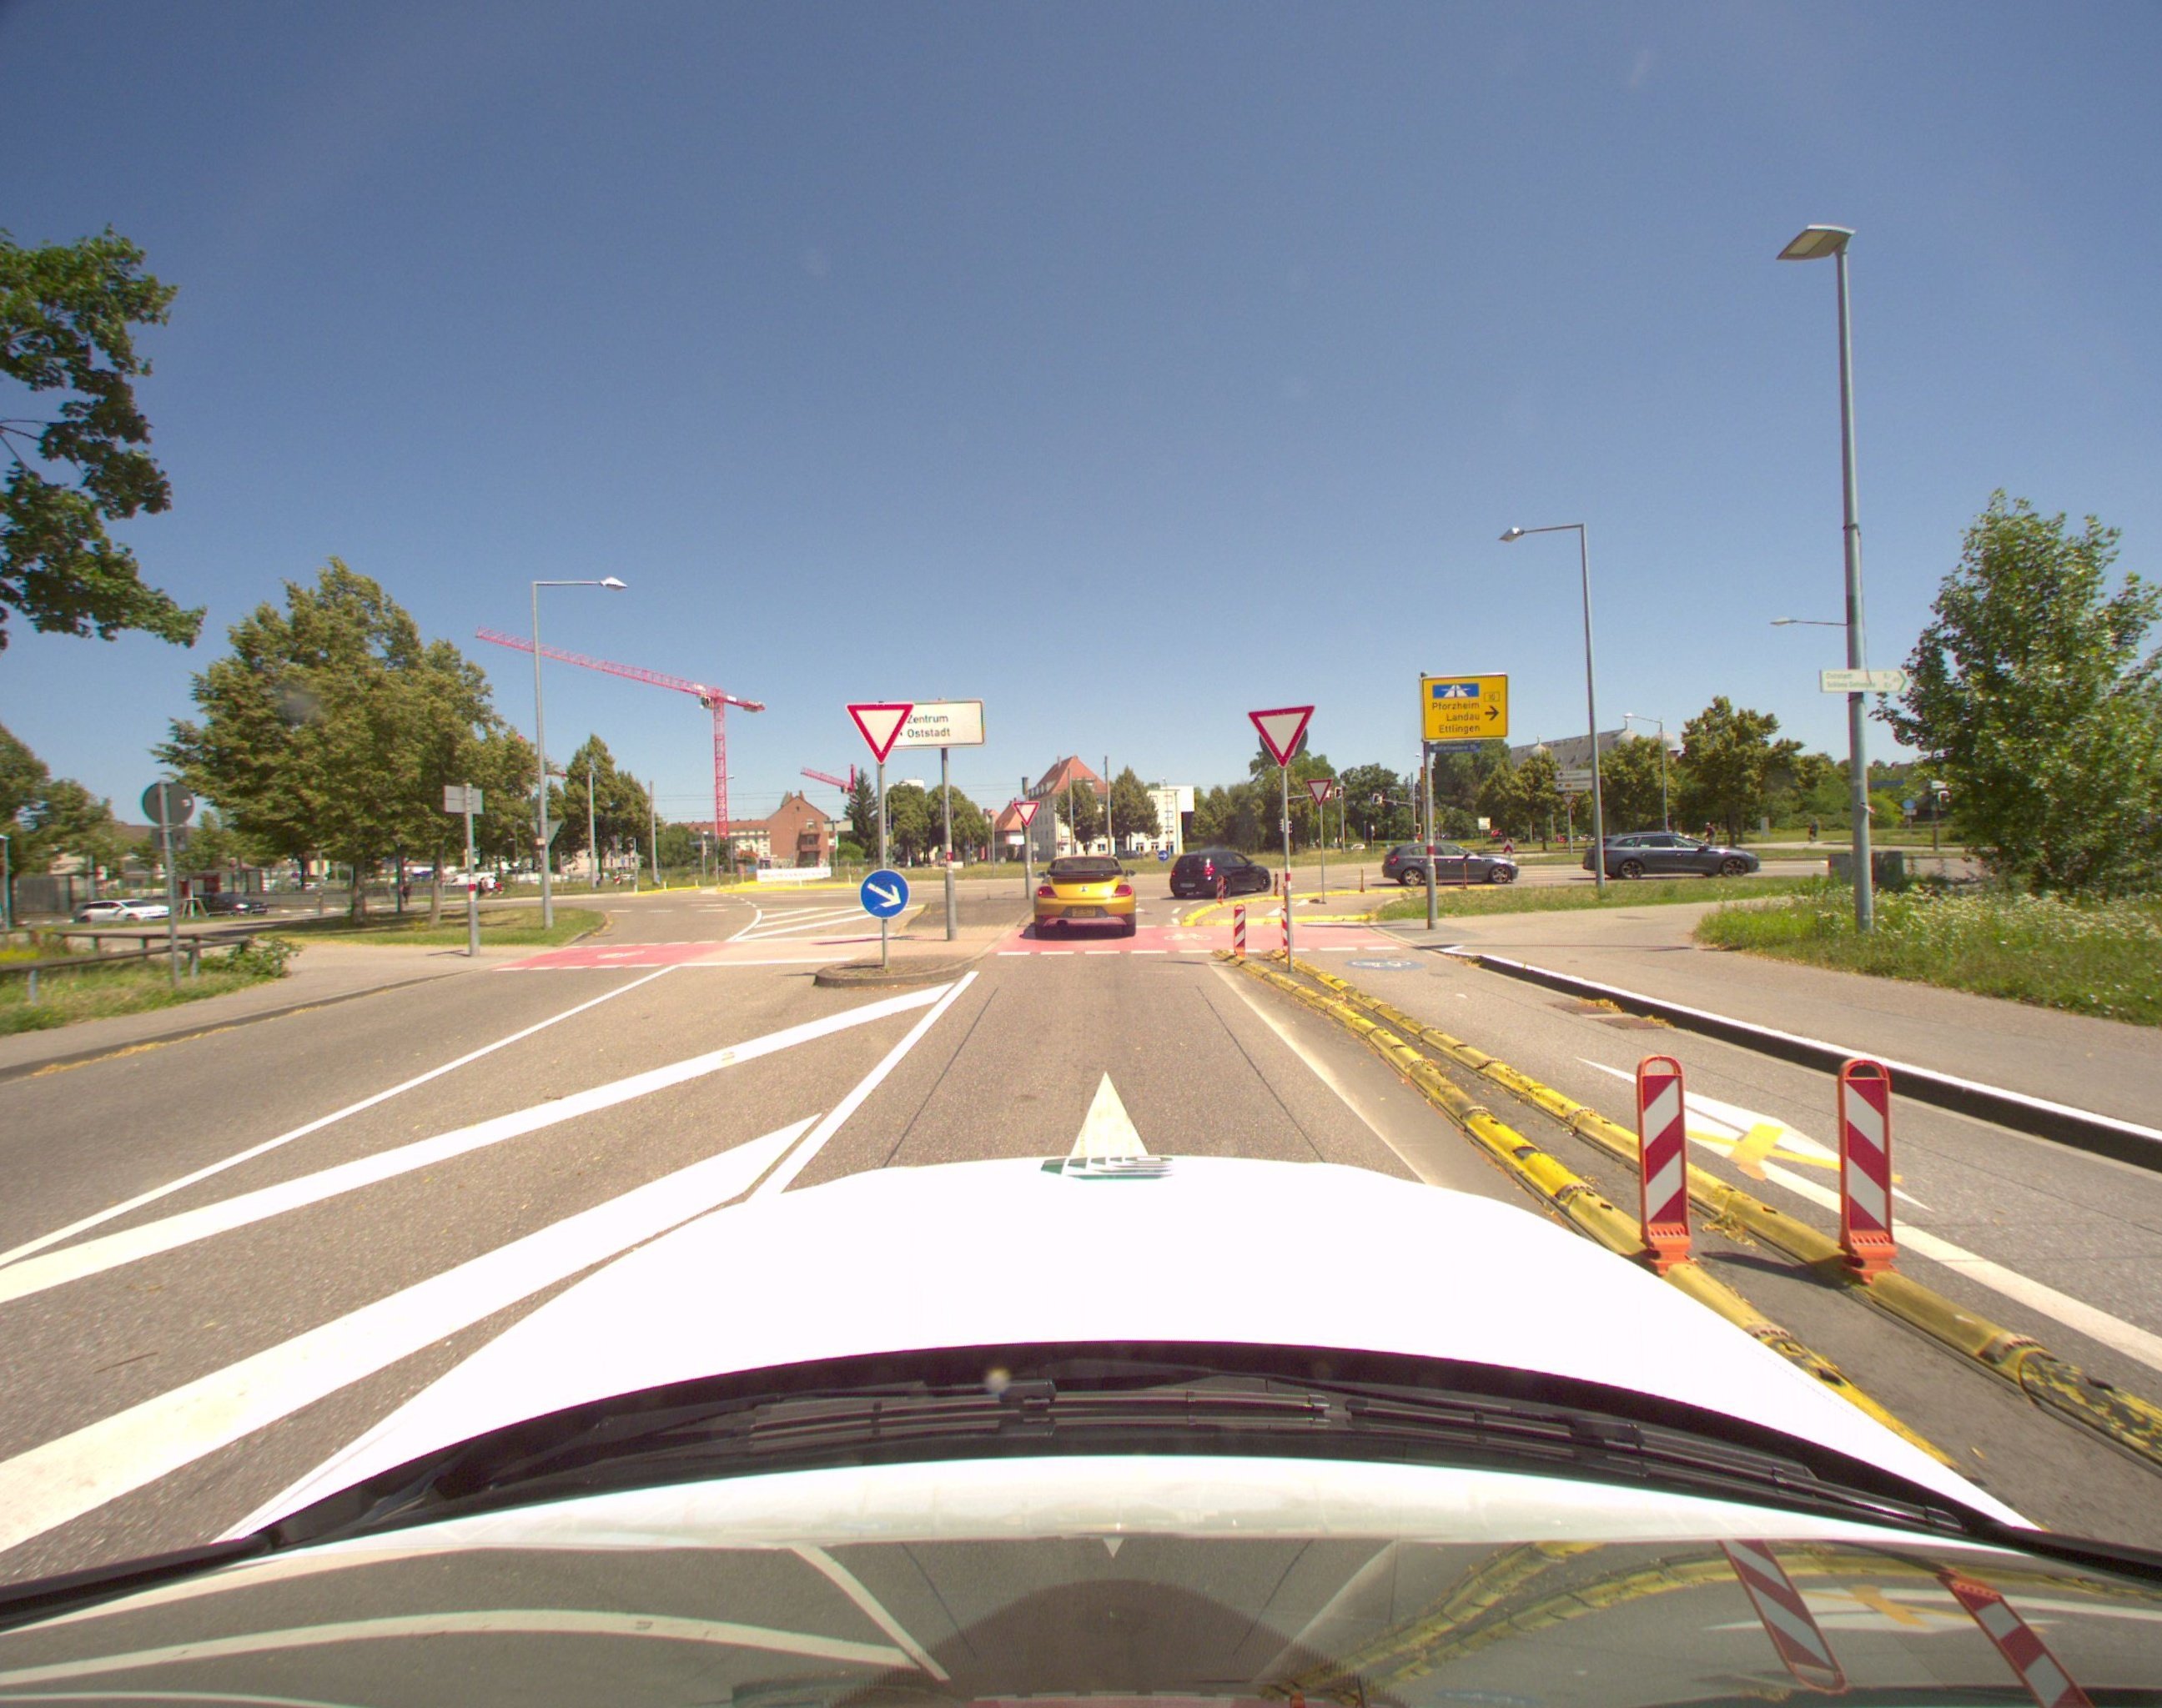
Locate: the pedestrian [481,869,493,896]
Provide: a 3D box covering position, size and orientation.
[{"bbox_3d":[-43.386,2.062,59.477,0.631,1.934,0.640,-2,0,-33],"label":"pedestrian"}]

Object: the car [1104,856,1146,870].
[{"bbox_3d":[4.731,0.942,86.940,3.949,1.464,2.012,-1,-1,28],"label":"car"}]

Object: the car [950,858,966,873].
[{"bbox_3d":[-17.448,1.571,115.181,1.994,2.014,3.984,-1,-1,-11],"label":"car"}]

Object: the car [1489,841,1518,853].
[{"bbox_3d":[70.745,-1.142,136.326,3.949,2.014,2.012,-1,-1,40],"label":"car"}]

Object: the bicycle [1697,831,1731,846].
[{"bbox_3d":[47.401,-1.157,61.000,0.727,1.115,2.052,-1,-1,-9],"label":"bicycle"}]

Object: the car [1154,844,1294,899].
[{"bbox_3d":[4.379,0.483,24.799,4.014,1.440,1.785,-3,1,-32],"label":"car"}]

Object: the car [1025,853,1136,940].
[{"bbox_3d":[0.047,0.707,15.439,1.819,1.403,3.663,-1,0,1],"label":"car"}]

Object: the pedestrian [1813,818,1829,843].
[{"bbox_3d":[52.228,-1.628,57.472,0.674,1.731,0.572,-1,-1,-16],"label":"pedestrian"}]

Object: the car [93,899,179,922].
[{"bbox_3d":[-55.097,3.304,47.505,3.298,1.225,1.578,-1,-1,3],"label":"car"}]

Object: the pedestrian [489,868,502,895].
[{"bbox_3d":[-43.362,2.010,60.324,0.631,1.934,0.640,-2,0,-33],"label":"pedestrian"}]

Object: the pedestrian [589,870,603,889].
[{"bbox_3d":[-43.730,2.305,73.398,0.773,1.640,0.764,-1,-1,14],"label":"pedestrian"}]

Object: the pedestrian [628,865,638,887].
[{"bbox_3d":[-42.079,2.038,76.543,0.599,2.014,0.595,-1,-1,1],"label":"pedestrian"}]

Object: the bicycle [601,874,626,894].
[{"bbox_3d":[-41.530,2.627,72.360,0.554,1.684,2.095,-1,-1,16],"label":"bicycle"}]

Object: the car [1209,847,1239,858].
[{"bbox_3d":[21.080,-0.216,120.036,3.988,1.684,1.992,-1,-1,-11],"label":"car"}]

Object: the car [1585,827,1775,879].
[{"bbox_3d":[18.642,-0.024,25.613,4.404,1.418,2.010,-2,0,19],"label":"car"}]

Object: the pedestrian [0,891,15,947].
[{"bbox_3d":[-36.572,2.205,27.303,0.605,1.869,0.838,-1,-1,15],"label":"pedestrian"}]

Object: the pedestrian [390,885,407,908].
[{"bbox_3d":[-44.690,2.771,53.360,0.539,1.406,0.598,-3,0,5],"label":"pedestrian"}]

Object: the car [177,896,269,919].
[{"bbox_3d":[-49.692,3.104,47.207,3.539,1.212,1.743,-1,-1,3],"label":"car"}]

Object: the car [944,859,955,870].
[{"bbox_3d":[-26.283,2.090,162.769,1.994,2.014,3.984,-1,-1,-11],"label":"car"}]

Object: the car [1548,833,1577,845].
[{"bbox_3d":[84.249,-2.550,142.495,3.949,2.014,2.012,-1,-1,40],"label":"car"}]

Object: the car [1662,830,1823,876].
[{"bbox_3d":[22.859,-0.030,28.333,3.952,1.422,1.792,-2,0,23],"label":"car"}]

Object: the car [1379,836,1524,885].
[{"bbox_3d":[12.061,0.198,26.772,4.040,1.403,1.759,-2,1,12],"label":"car"}]

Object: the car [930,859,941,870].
[{"bbox_3d":[-27.768,2.053,155.648,1.994,2.014,3.984,-1,-1,-11],"label":"car"}]

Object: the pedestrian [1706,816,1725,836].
[{"bbox_3d":[47.373,-2.094,60.831,0.707,1.450,0.815,-1,-1,-9],"label":"pedestrian"}]
